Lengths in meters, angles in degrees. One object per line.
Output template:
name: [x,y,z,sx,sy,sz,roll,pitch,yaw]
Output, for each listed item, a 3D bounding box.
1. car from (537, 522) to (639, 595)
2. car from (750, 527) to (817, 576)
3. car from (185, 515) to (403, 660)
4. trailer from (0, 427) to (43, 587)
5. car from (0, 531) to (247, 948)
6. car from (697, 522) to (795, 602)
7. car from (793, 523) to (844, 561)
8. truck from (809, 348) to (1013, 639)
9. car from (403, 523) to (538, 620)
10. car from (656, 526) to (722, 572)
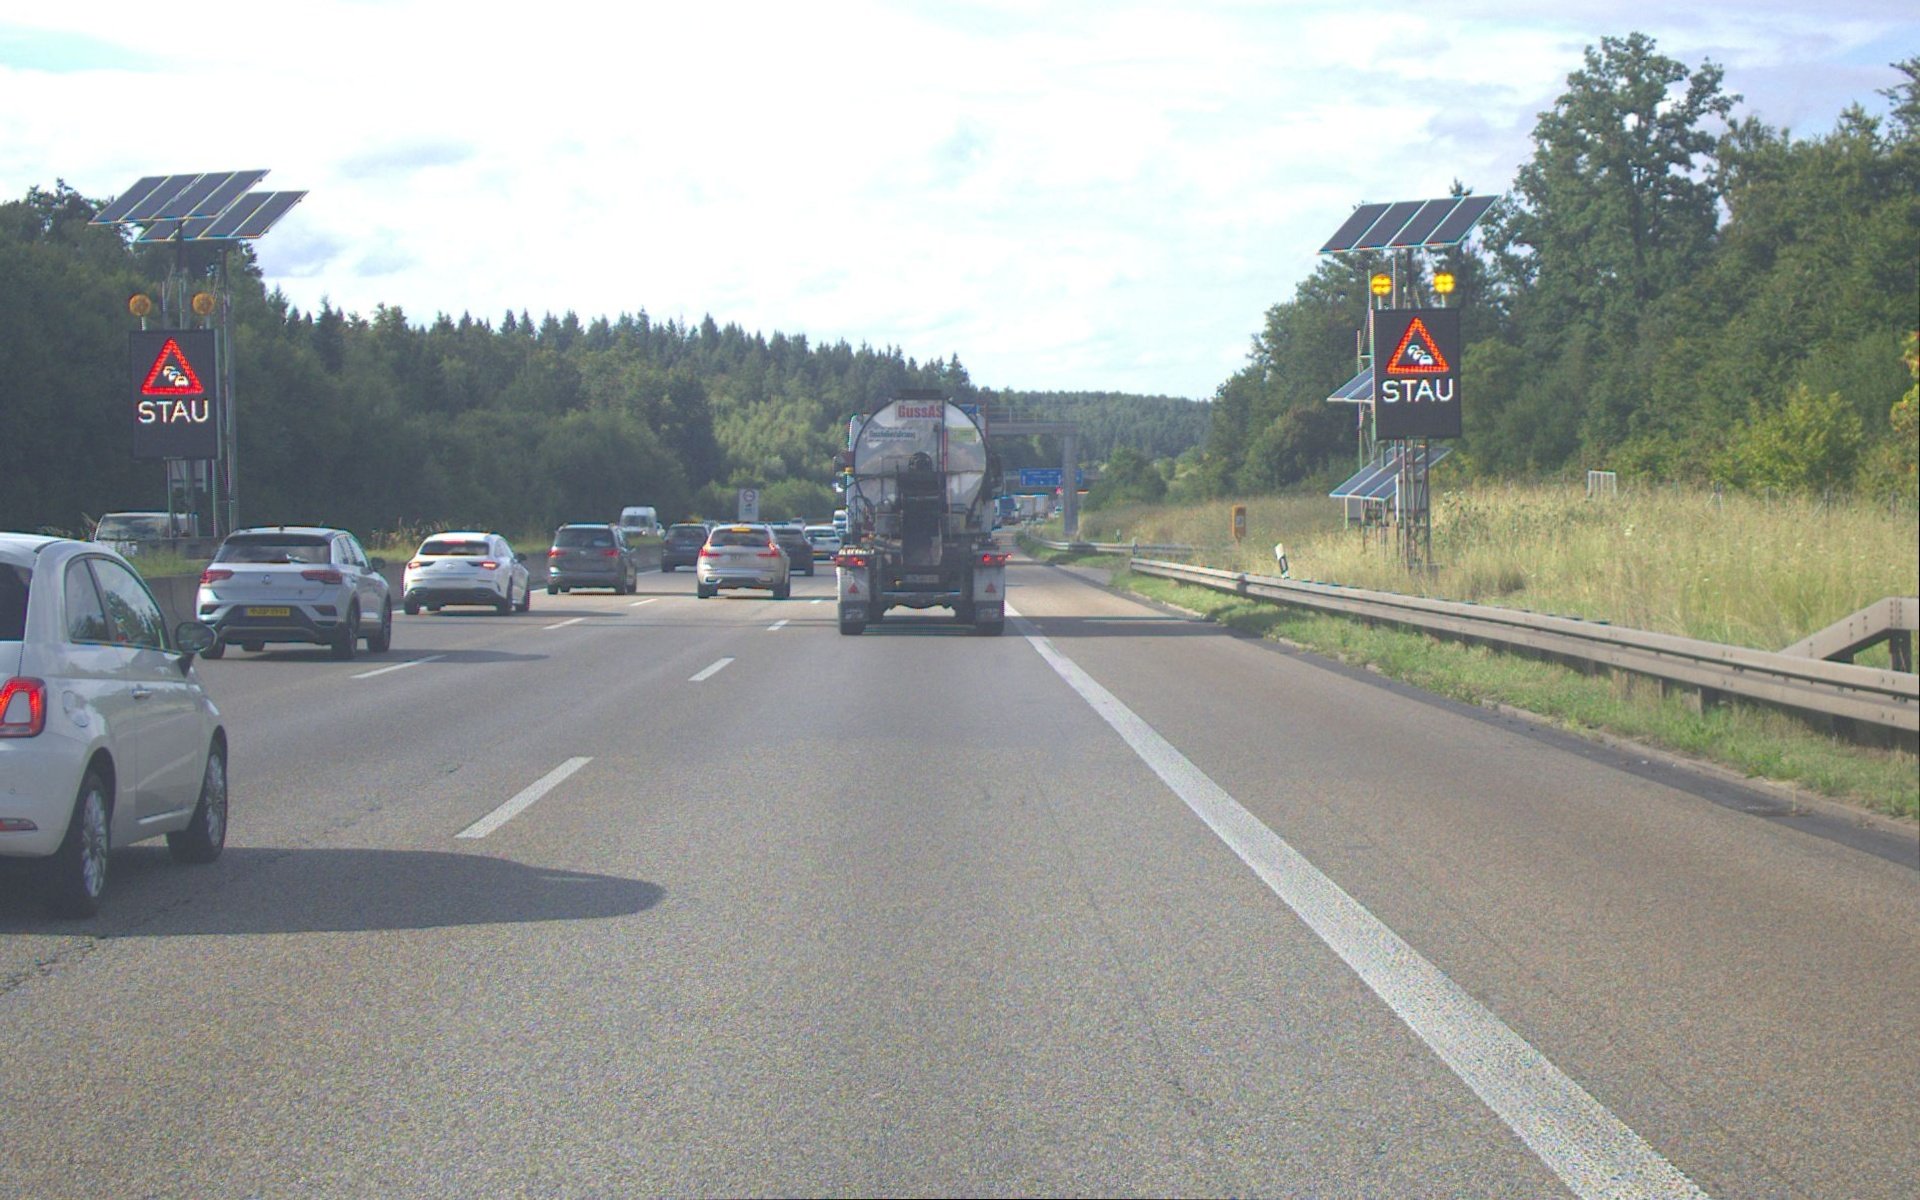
car: [-8.607,-0.977,79.808,1.942,1.580,4.207,1,2,-1]
car: [-5.637,-1.575,110.232,1.942,1.451,4.207,1,2,-1]
car: [-7.859,-0.192,40.898,1.806,1.580,4.207,1,2,-1]
trailer: [-24.551,-2.198,80.272,3.124,3.824,12.210,0,1,-1]
car: [-4.162,0.477,14.449,1.618,1.539,3.520,1,1,-1]
car: [-4.696,-0.859,76.007,1.942,1.649,4.207,1,2,-1]
car: [-5.765,-2.387,140.203,1.942,1.451,4.207,1,2,-1]
truck: [-0.698,-1.651,54.896,2.912,4.143,11.270,0,1,0]
car: [-8.564,-0.535,60.411,1.806,1.580,4.207,1,2,-1]
car: [-9.242,-1.758,117.369,1.942,1.451,4.207,1,2,-1]
